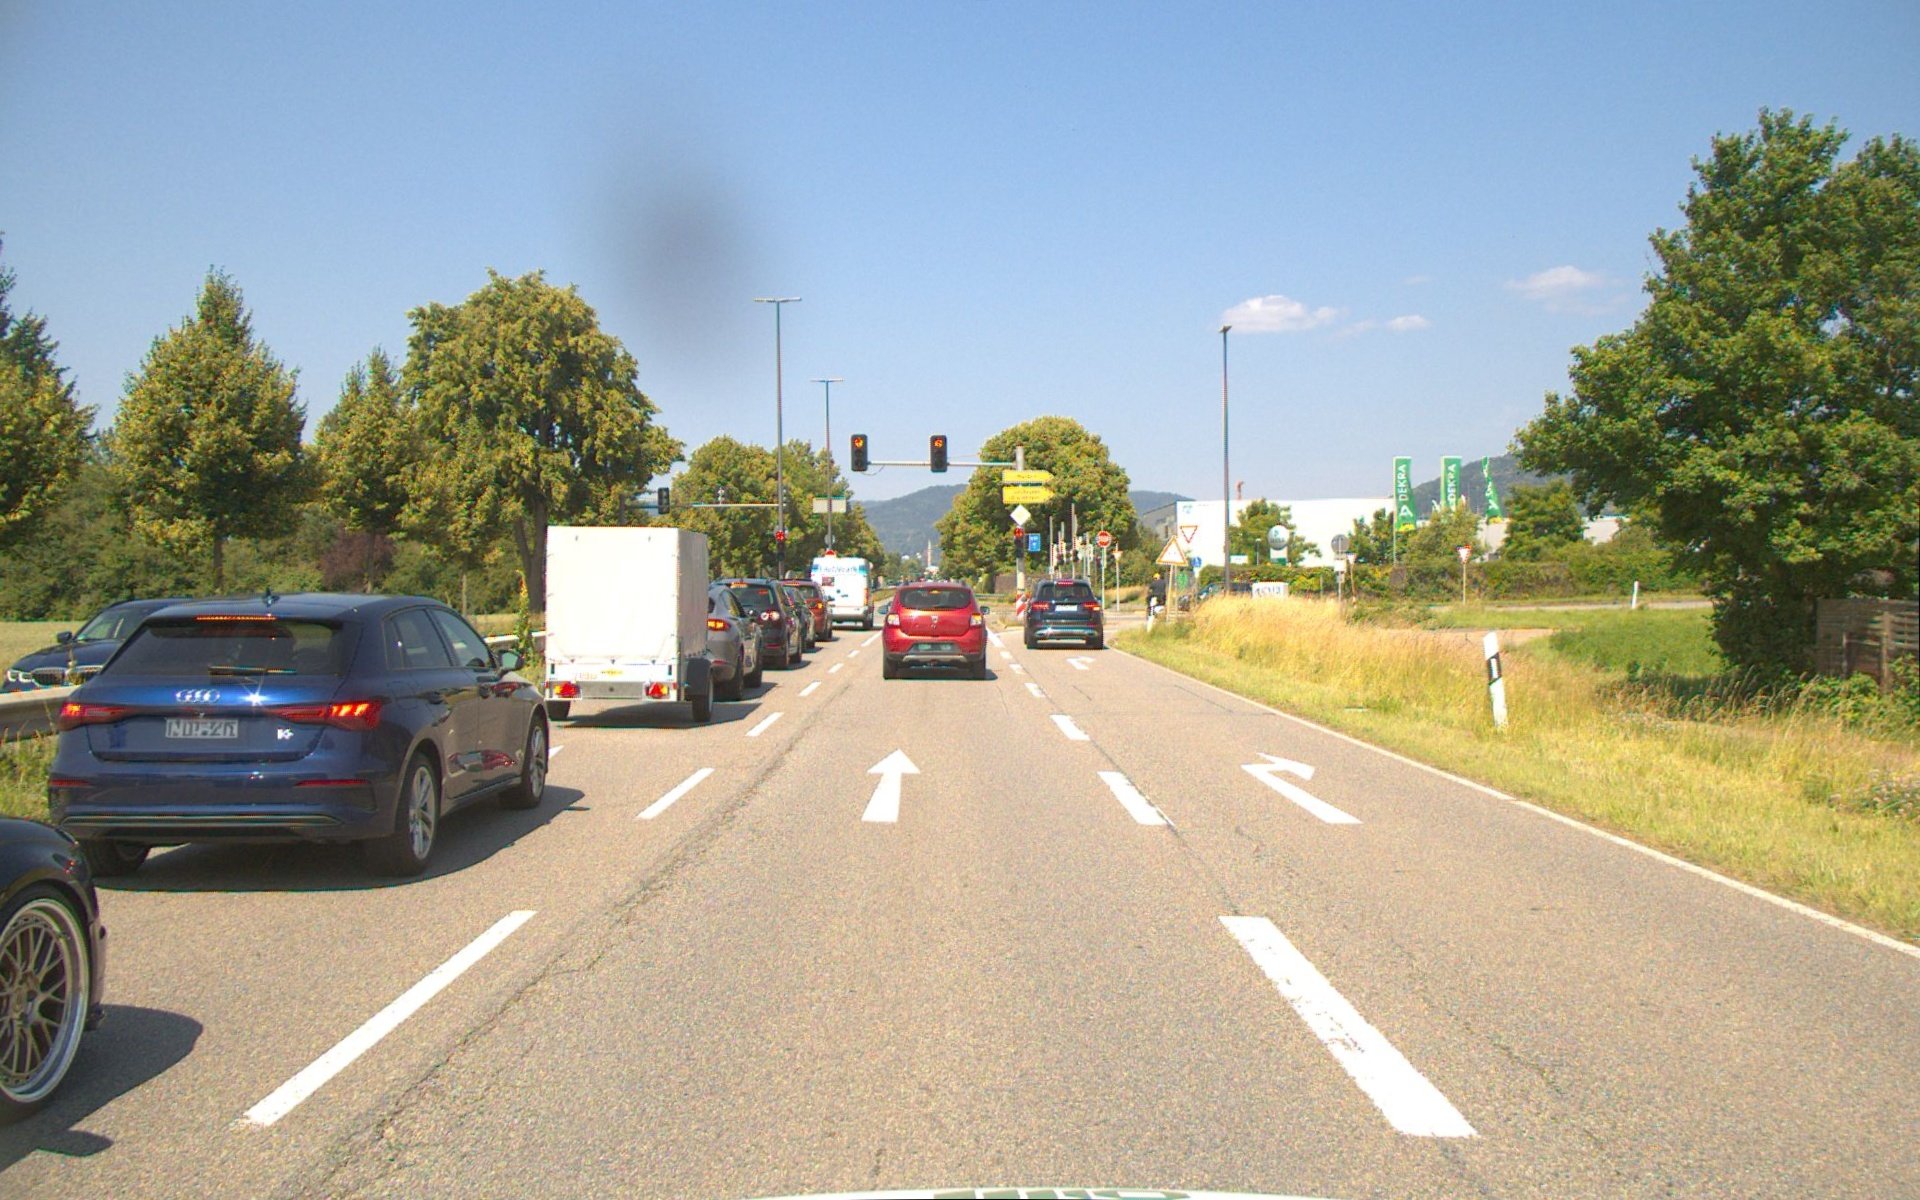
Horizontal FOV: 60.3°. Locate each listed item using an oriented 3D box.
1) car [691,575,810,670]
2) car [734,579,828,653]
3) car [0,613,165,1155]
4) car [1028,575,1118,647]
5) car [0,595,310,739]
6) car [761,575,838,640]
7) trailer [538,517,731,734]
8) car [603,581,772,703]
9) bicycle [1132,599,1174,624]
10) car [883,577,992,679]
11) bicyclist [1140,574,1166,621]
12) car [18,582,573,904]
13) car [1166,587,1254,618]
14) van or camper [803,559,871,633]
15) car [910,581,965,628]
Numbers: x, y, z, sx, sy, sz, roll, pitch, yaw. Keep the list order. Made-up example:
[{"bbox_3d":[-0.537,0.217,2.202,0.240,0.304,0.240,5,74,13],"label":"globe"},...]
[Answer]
[{"bbox_3d":[-3.764,0.372,30.302,1.688,1.603,3.892,0,0,0],"label":"car"},{"bbox_3d":[-3.998,0.323,37.480,1.667,1.467,3.956,2,2,0],"label":"car"},{"bbox_3d":[-3.358,0.762,3.005,1.705,1.404,4.455,1,1,-1],"label":"car"},{"bbox_3d":[2.700,0.230,40.517,1.952,1.645,4.340,0,1,1],"label":"car"},{"bbox_3d":[-9.593,0.709,19.903,1.841,1.480,4.503,-1,0,-1],"label":"car"},{"bbox_3d":[-4.250,0.170,44.219,1.689,1.628,3.955,0,1,0],"label":"car"},{"bbox_3d":[-3.609,0.246,18.964,1.470,2.211,4.173,0,0,-1],"label":"trailer"},{"bbox_3d":[-3.677,0.509,23.024,1.710,1.529,4.362,0,1,-1],"label":"car"},{"bbox_3d":[7.530,0.440,64.677,0.748,0.931,2.771,-1,1,-13],"label":"bicycle"},{"bbox_3d":[-0.337,0.418,27.993,1.713,1.603,3.677,0,1,1],"label":"car"},{"bbox_3d":[7.533,-0.101,64.536,0.788,1.802,0.806,-1,1,-13],"label":"bicyclist"},{"bbox_3d":[-3.561,0.647,9.713,1.682,1.490,4.029,0,1,-1],"label":"car"},{"bbox_3d":[11.459,0.105,75.900,3.902,1.350,1.808,-1,0,6],"label":"car"},{"bbox_3d":[-4.024,-0.144,54.687,2.136,2.343,4.824,0,0,-3],"label":"van or camper"},{"bbox_3d":[-0.732,0.116,55.006,1.713,1.483,3.677,0,1,1],"label":"car"}]
